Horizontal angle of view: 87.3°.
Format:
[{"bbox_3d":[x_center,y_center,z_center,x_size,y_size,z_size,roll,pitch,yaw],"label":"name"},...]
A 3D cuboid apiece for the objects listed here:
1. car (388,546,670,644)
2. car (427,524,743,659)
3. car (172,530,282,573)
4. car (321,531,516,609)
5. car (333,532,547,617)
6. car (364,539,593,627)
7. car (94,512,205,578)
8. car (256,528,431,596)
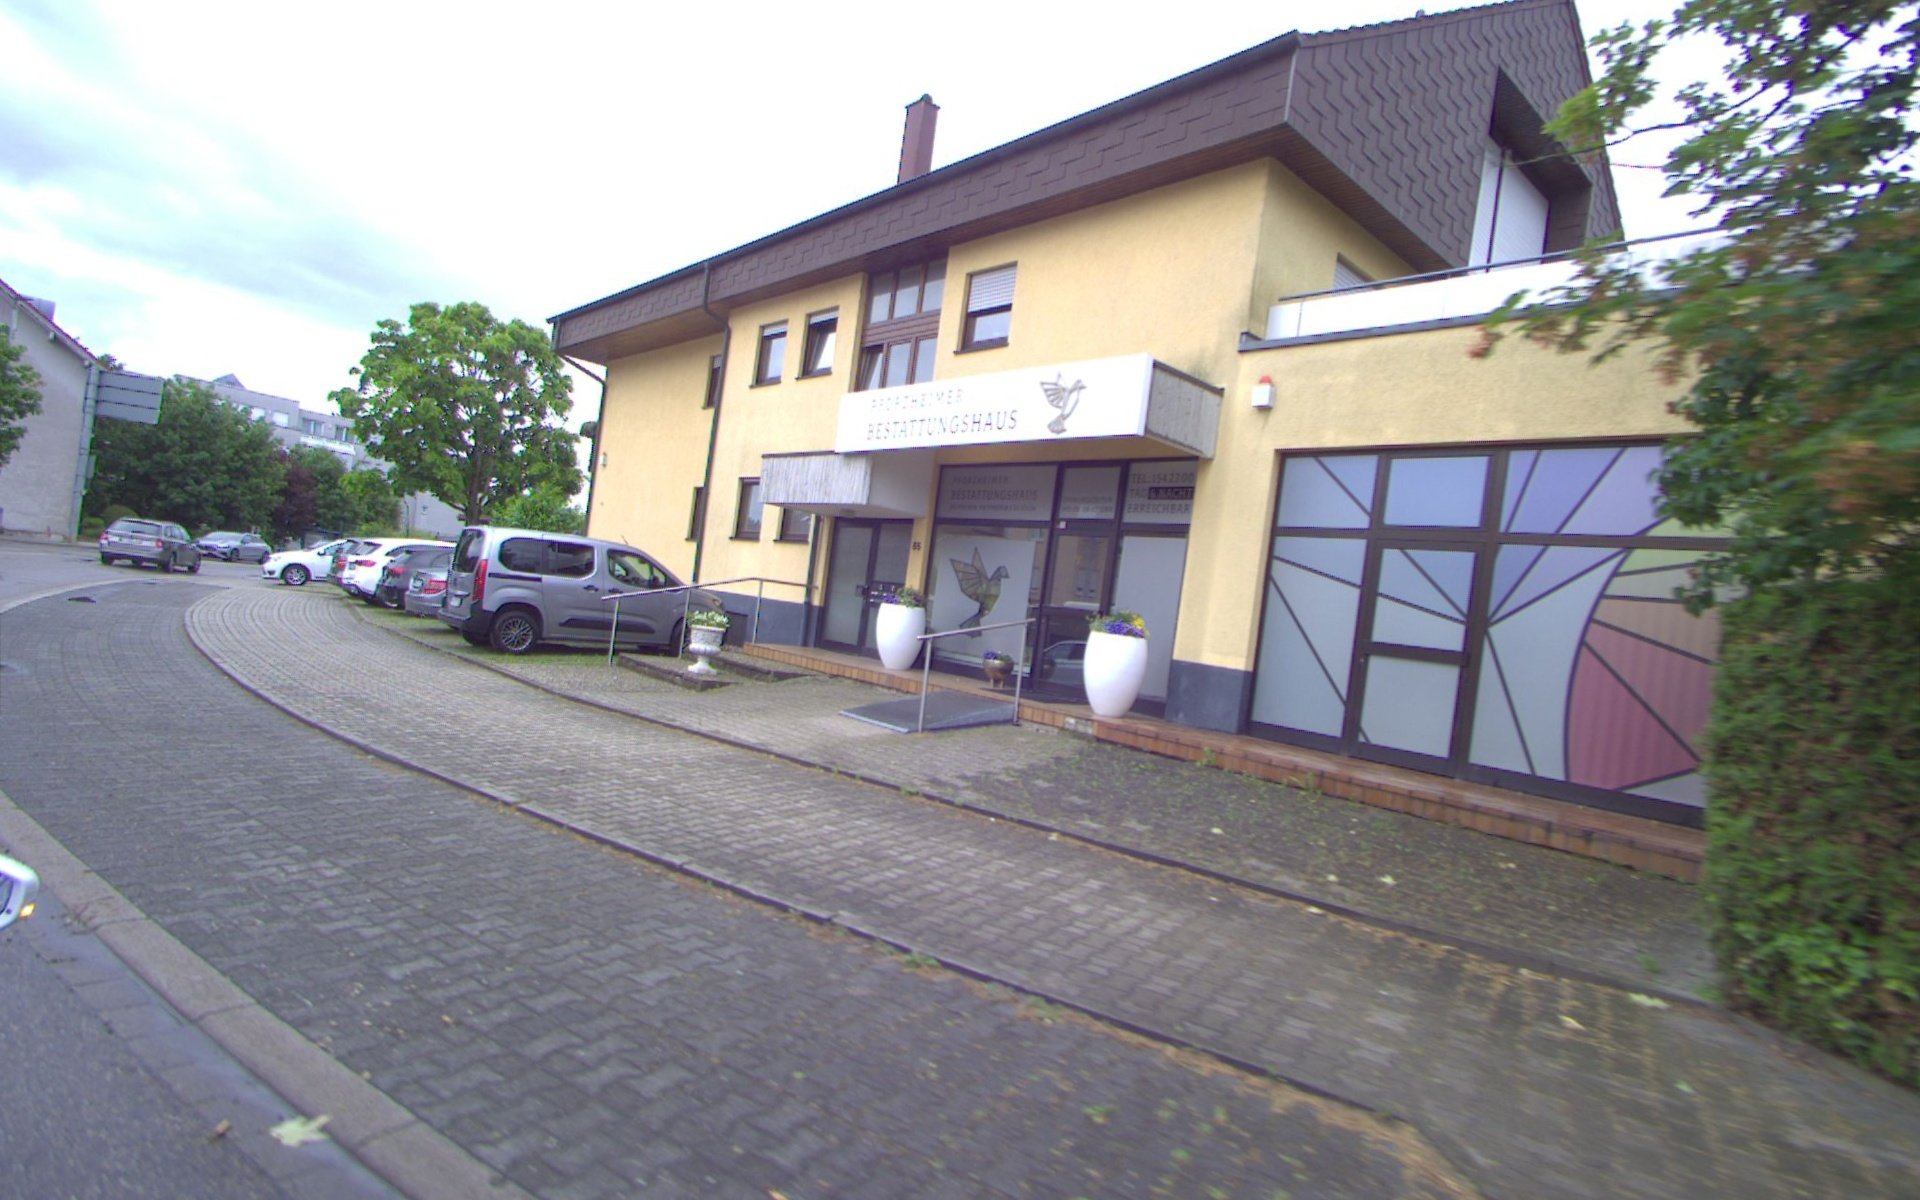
[{"bbox_3d":[-7.700,-0.043,18.247,4.342,1.442,1.675,4,1,-43],"label":"car"},{"bbox_3d":[-5.860,-0.077,16.043,4.276,1.804,1.882,4,1,-43],"label":"car"},{"bbox_3d":[-33.892,-2.190,46.685,1.874,1.407,4.487,9,-1,-4],"label":"car"},{"bbox_3d":[-13.792,-0.738,25.709,4.025,1.617,1.883,4,1,-42],"label":"car"},{"bbox_3d":[-11.994,-0.558,23.337,4.027,1.617,1.873,4,1,-43],"label":"car"},{"bbox_3d":[-10.162,-0.335,21.338,4.022,1.509,1.884,4,1,-39],"label":"car"},{"bbox_3d":[-24.470,-1.597,30.534,1.752,1.526,3.975,9,-4,-28],"label":"car"},{"bbox_3d":[-18.445,-1.116,30.200,4.310,1.617,1.750,4,1,-35],"label":"car"}]
